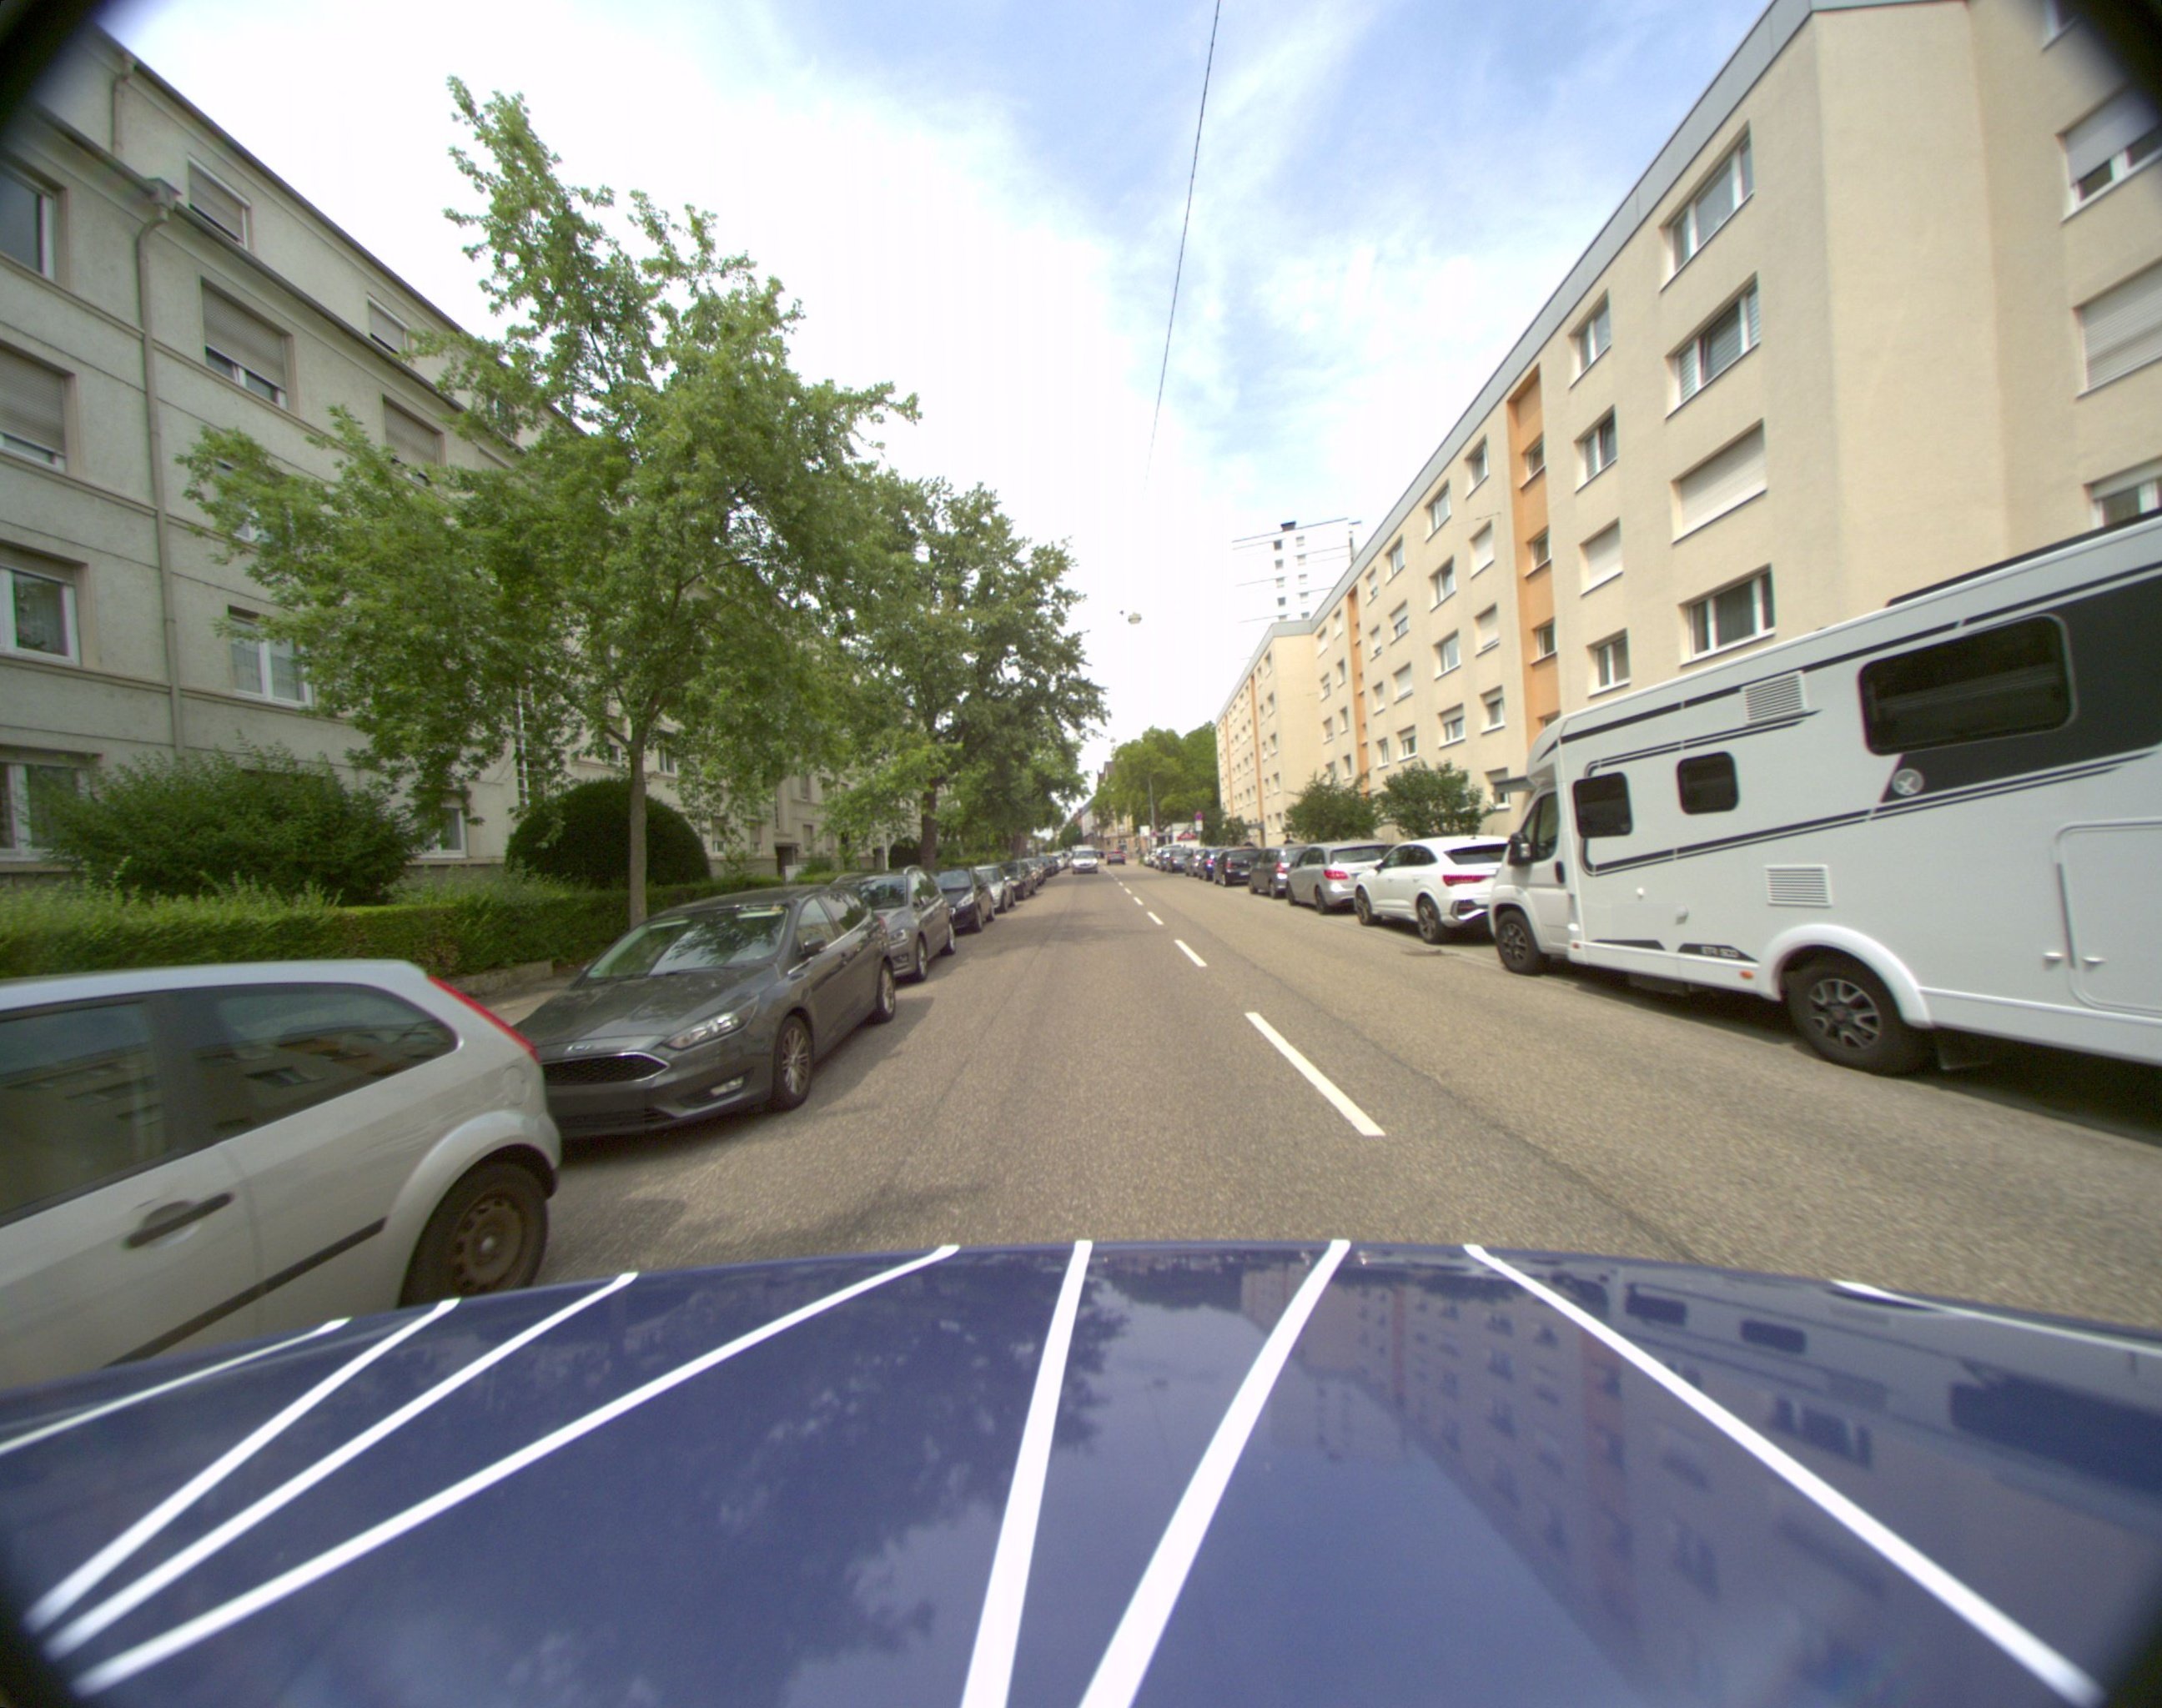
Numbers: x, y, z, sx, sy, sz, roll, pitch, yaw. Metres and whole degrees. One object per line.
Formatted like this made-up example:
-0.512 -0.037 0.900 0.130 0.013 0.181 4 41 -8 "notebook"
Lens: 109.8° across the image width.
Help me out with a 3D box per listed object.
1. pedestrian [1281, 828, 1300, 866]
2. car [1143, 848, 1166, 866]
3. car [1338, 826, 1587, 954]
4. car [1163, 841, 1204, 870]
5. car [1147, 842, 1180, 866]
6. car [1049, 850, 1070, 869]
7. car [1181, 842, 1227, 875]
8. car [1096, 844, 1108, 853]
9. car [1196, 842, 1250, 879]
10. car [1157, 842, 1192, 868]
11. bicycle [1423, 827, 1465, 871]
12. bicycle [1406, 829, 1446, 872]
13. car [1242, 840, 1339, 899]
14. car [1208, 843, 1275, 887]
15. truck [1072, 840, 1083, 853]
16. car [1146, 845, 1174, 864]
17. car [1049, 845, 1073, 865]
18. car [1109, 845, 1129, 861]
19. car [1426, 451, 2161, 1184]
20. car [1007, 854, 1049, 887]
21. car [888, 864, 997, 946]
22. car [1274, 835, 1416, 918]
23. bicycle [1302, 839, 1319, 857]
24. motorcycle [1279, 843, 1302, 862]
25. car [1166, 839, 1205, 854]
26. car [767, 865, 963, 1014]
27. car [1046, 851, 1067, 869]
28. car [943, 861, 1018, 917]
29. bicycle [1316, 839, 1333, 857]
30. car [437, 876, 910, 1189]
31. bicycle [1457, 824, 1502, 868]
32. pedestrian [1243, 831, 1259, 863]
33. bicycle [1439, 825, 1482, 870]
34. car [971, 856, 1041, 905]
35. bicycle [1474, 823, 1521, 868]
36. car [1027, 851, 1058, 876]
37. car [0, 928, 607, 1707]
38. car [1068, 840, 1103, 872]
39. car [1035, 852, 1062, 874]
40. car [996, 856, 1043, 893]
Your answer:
10.218 -0.351 37.060 0.621 1.802 0.803 -3 1 -2 "pedestrian"
6.628 0.267 68.702 1.712 1.464 3.989 -5 1 3 "car"
5.890 0.466 12.485 1.693 1.570 4.593 -5 0 0 "car"
6.389 0.058 47.668 1.947 1.603 4.302 -5 1 1 "car"
6.274 -0.004 58.177 1.702 1.603 4.476 -5 1 -2 "car"
-2.045 0.486 72.123 1.608 1.598 3.804 -5 1 2 "car"
6.462 0.216 40.369 1.674 1.552 3.851 -5 1 0 "car"
3.612 -0.942 128.813 1.956 1.512 4.613 -1 1 1 "car"
6.467 0.261 34.958 1.822 1.475 3.885 -5 1 3 "car"
6.453 0.051 52.857 1.947 1.603 4.861 -5 1 3 "car"
12.241 -0.158 25.681 0.463 1.404 2.130 -4 0 4 "bicycle"
11.628 -0.111 25.648 0.463 1.385 2.130 -4 0 5 "bicycle"
6.214 0.439 23.002 1.727 1.530 4.004 -4 0 0 "car"
6.269 0.371 30.085 1.822 1.475 4.116 -5 0 2 "car"
-0.946 -1.966 200.021 2.548 3.089 7.018 -2 0 -2 "truck"
6.589 0.029 63.826 1.713 1.464 3.988 -5 1 -1 "car"
-1.991 0.082 76.750 1.922 1.854 4.846 -5 1 2 "car"
4.001 -0.092 80.215 1.822 1.576 4.435 -3 0 0 "car"
5.689 -0.234 5.854 2.517 3.006 7.395 -5 1 0 "car"
-2.684 0.800 39.341 1.701 1.461 4.717 -5 0 0 "car"
-3.025 1.060 17.356 1.663 1.461 3.889 -5 1 0 "car"
6.005 0.446 17.925 1.759 1.570 4.568 -5 0 2 "car"
13.151 -0.326 43.639 0.441 0.980 1.616 -4 1 1 "bicycle"
11.939 -0.102 43.421 0.663 0.980 2.317 -4 1 1 "motorcycle"
12.961 -0.949 94.457 4.640 1.676 1.850 -2 0 7 "car"
-2.987 1.085 11.497 1.663 1.573 4.285 -6 1 -1 "car"
-2.171 0.502 67.785 1.701 1.441 4.100 -4 0 -1 "car"
-2.933 0.983 22.888 1.663 1.460 3.725 -4 0 0 "car"
13.971 -0.344 43.638 0.441 0.980 1.673 -4 1 1 "bicycle"
-2.761 1.061 6.446 1.621 1.461 4.390 -5 0 -2 "car"
13.381 -0.257 25.586 0.463 1.416 2.130 -4 0 4 "bicycle"
9.981 -0.428 44.602 0.621 1.802 0.899 -4 1 -1 "pedestrian"
12.790 -0.214 25.670 0.463 1.416 2.130 -4 0 4 "bicycle"
-2.718 0.926 28.630 1.784 1.461 4.615 -5 0 4 "car"
13.946 -0.268 25.514 0.463 1.416 2.130 -4 0 4 "bicycle"
-2.596 0.634 52.201 1.701 1.461 4.559 -5 0 2 "car"
-3.049 1.141 1.369 1.663 1.448 4.035 -5 0 1 "car"
0.255 0.121 53.233 2.082 2.039 4.679 -3 0 -2 "car"
-2.422 0.655 57.460 1.701 1.461 4.101 -5 0 2 "car"
-2.729 0.871 34.474 1.674 1.392 3.851 -6 1 0 "car"
